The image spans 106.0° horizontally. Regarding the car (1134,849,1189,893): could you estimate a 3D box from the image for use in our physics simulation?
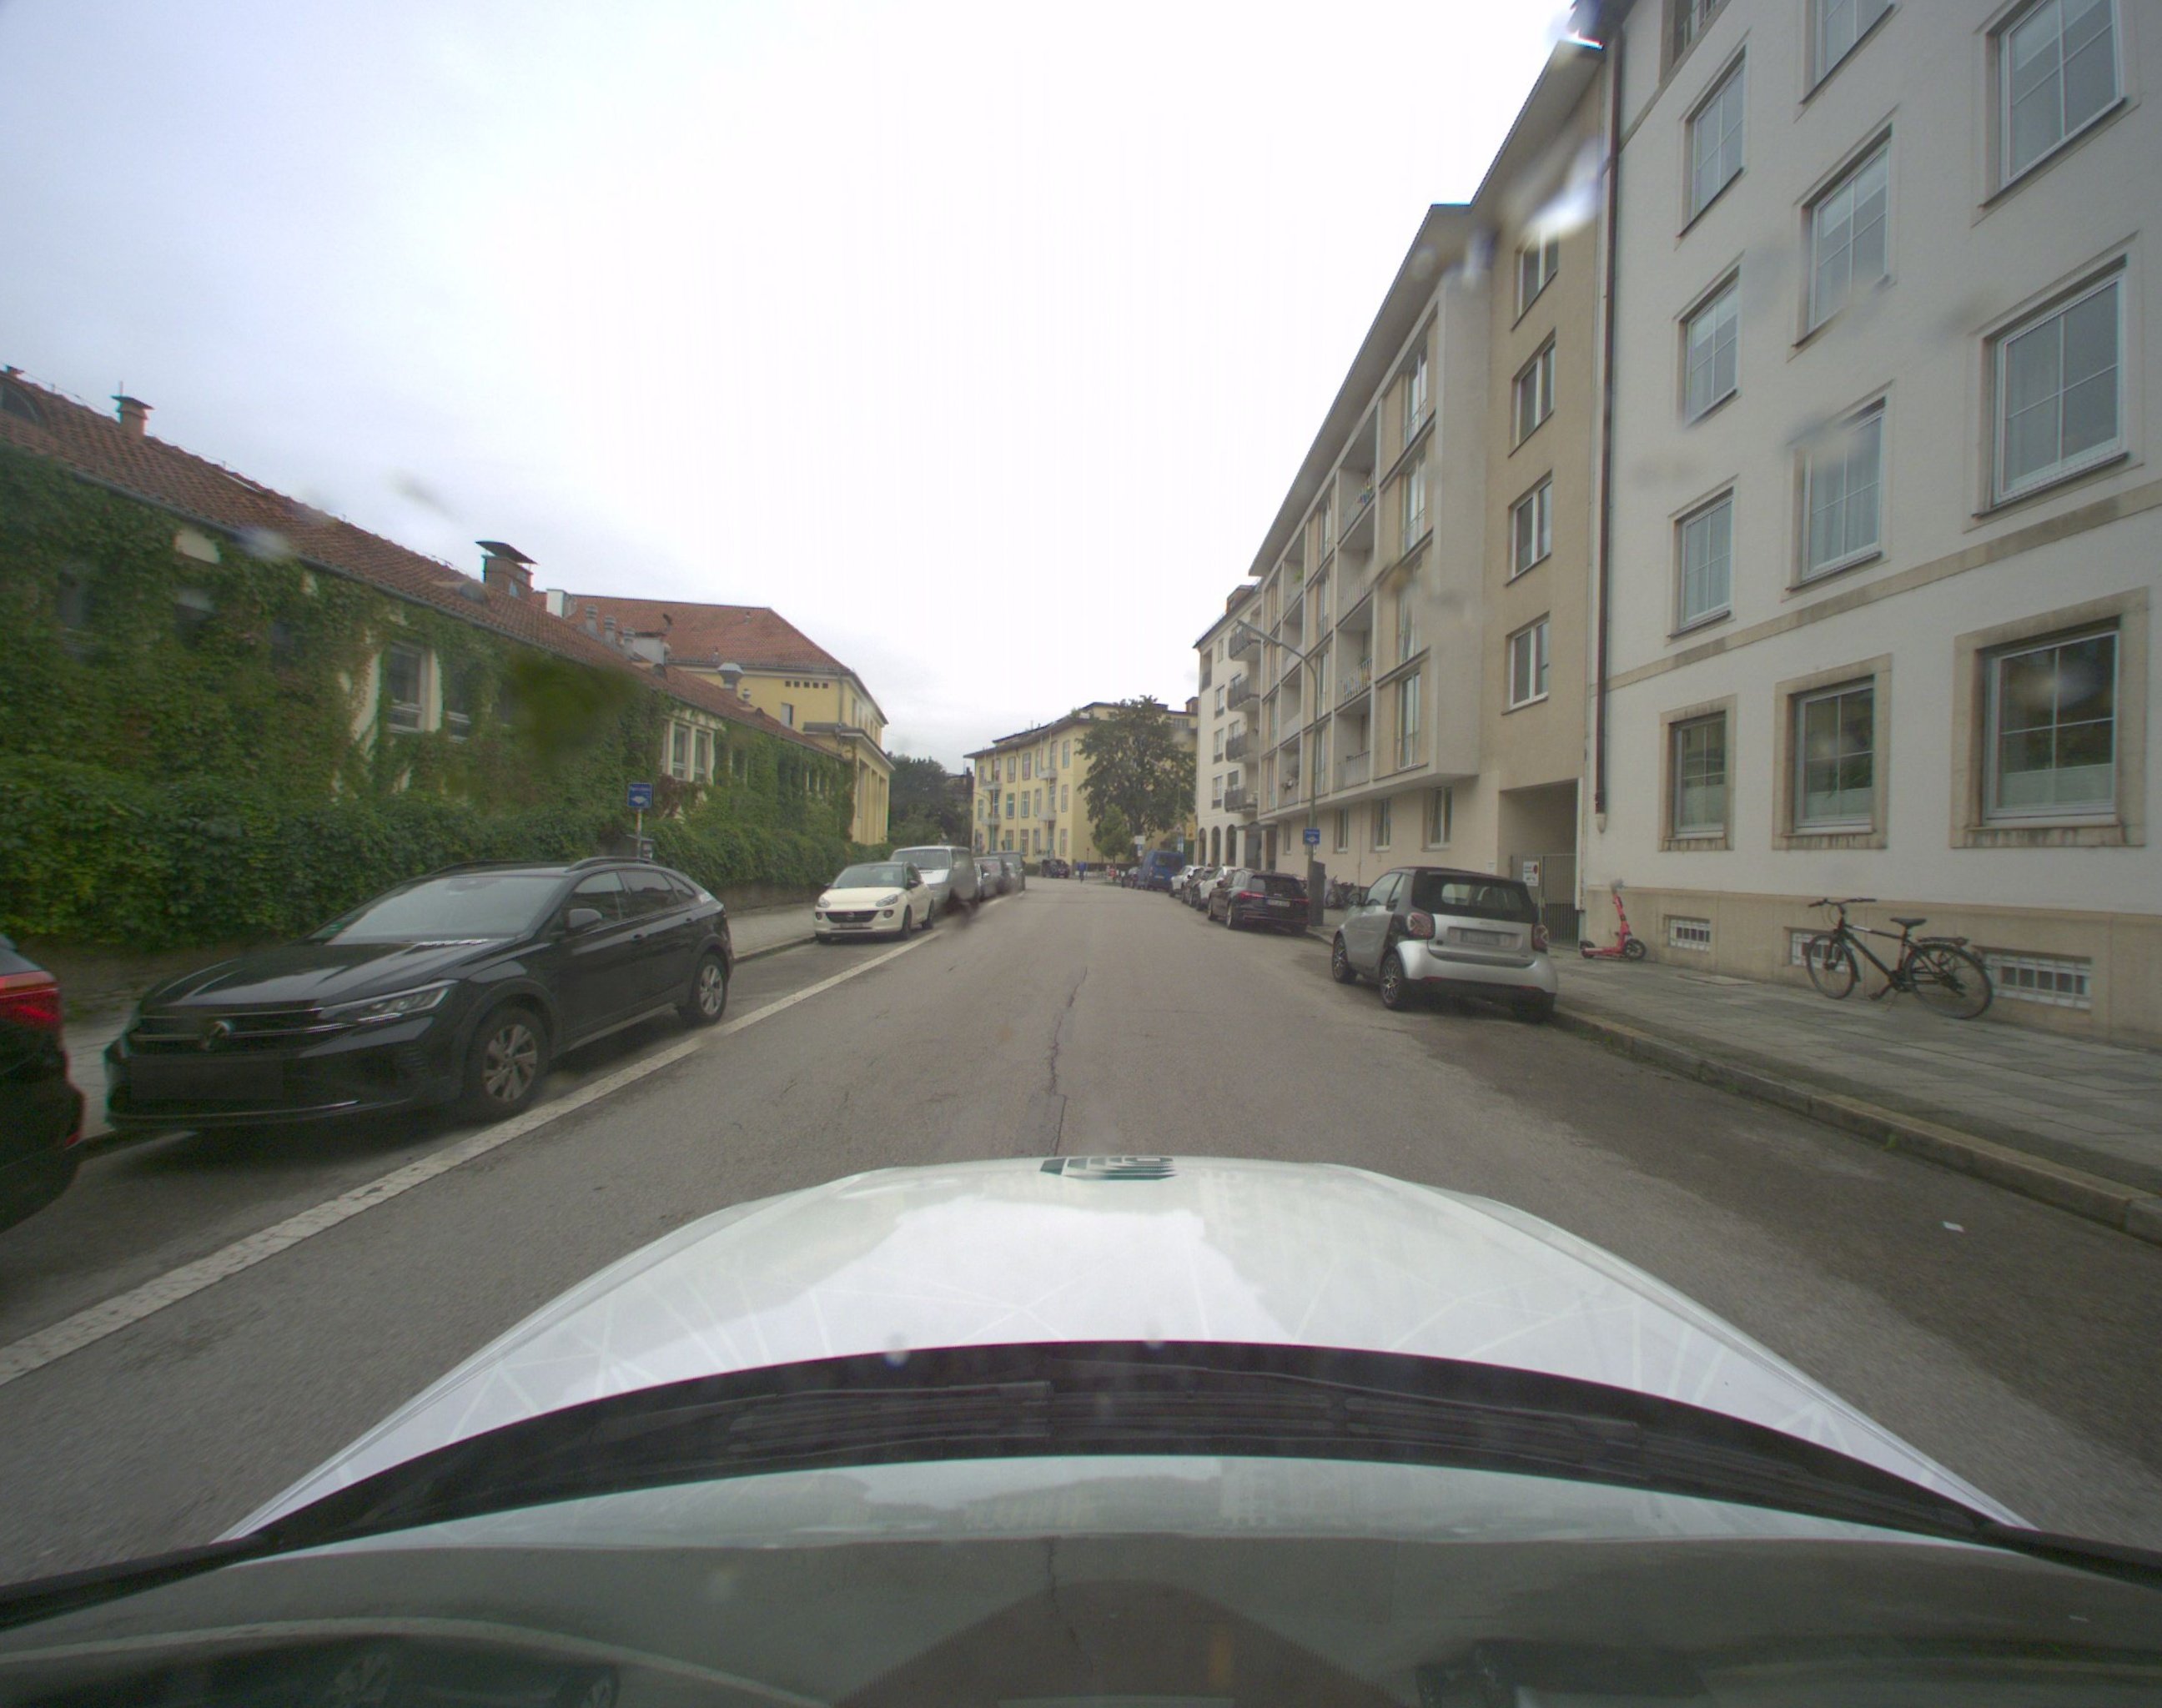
[{"bbox_3d":[4.619,1.057,47.325,2.106,2.214,5.018,6,-3,-5],"label":"car"}]

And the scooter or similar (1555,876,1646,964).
[{"bbox_3d":[8.086,0.999,12.727,0.726,1.275,1.096,1,0,1],"label":"scooter or similar"}]

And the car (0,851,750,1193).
[{"bbox_3d":[-4.114,0.778,5.869,1.712,1.481,4.218,-3,0,-1],"label":"car"}]

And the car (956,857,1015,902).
[{"bbox_3d":[-3.693,0.960,32.177,1.696,1.606,4.490,-2,0,0],"label":"car"}]

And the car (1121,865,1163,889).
[{"bbox_3d":[3.932,1.481,53.234,1.714,1.395,3.986,5,-1,-10],"label":"car"}]

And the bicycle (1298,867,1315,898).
[{"bbox_3d":[9.031,1.124,32.610,0.391,1.202,1.344,-2,-1,6],"label":"bicycle"}]

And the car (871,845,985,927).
[{"bbox_3d":[-3.853,0.757,21.415,1.886,1.798,4.882,-3,0,1],"label":"car"}]

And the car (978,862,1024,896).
[{"bbox_3d":[-3.595,1.088,37.362,1.702,1.365,4.000,-3,0,-1],"label":"car"}]

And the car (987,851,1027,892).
[{"bbox_3d":[-3.817,0.858,42.459,1.922,1.979,4.615,-2,0,-4],"label":"car"}]

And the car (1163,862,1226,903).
[{"bbox_3d":[4.943,1.203,36.056,1.772,1.523,4.297,5,0,-4],"label":"car"}]

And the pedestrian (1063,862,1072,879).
[{"bbox_3d":[-1.393,1.719,84.260,0.847,1.757,0.952,1,0,-6],"label":"pedestrian"}]

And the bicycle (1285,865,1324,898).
[{"bbox_3d":[8.474,1.036,30.895,1.339,1.202,0.392,-2,-2,-13],"label":"bicycle"}]

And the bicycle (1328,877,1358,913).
[{"bbox_3d":[8.820,1.354,27.442,0.512,1.157,1.601,0,-1,0],"label":"bicycle"}]

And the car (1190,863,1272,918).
[{"bbox_3d":[4.648,1.083,25.739,1.697,1.468,4.118,5,-1,-1],"label":"car"}]

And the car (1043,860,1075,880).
[{"bbox_3d":[-2.309,1.635,83.914,1.880,1.888,4.587,1,0,-21],"label":"car"}]

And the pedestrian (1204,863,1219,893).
[{"bbox_3d":[7.157,1.310,44.640,0.677,1.629,0.829,0,-2,-3],"label":"pedestrian"}]

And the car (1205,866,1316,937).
[{"bbox_3d":[4.276,1.075,20.131,1.820,1.381,4.493,4,0,2],"label":"car"}]

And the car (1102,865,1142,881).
[{"bbox_3d":[3.909,1.818,77.296,3.702,1.406,1.753,1,-1,0],"label":"car"}]

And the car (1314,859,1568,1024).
[{"bbox_3d":[4.120,0.892,9.925,1.608,1.516,3.382,5,0,2],"label":"car"}]

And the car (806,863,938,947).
[{"bbox_3d":[-4.017,0.925,16.235,1.661,1.409,3.558,-2,0,0],"label":"car"}]

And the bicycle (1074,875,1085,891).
[{"bbox_3d":[-0.119,2.363,67.556,0.917,1.252,2.322,1,0,1],"label":"bicycle"}]

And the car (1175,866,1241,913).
[{"bbox_3d":[4.703,1.279,30.707,1.766,1.429,4.695,6,0,2],"label":"car"}]

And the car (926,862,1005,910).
[{"bbox_3d":[-3.758,1.010,27.253,1.797,1.377,4.492,-3,-1,1],"label":"car"}]

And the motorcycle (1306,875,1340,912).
[{"bbox_3d":[8.792,1.430,29.618,0.633,1.271,2.041,0,-1,0],"label":"motorcycle"}]

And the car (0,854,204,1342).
[{"bbox_3d":[-4.254,0.770,0.950,1.763,1.503,4.273,-1,0,1],"label":"car"}]

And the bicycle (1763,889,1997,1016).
[{"bbox_3d":[8.155,0.951,8.445,0.627,1.092,1.837,-1,0,1],"label":"bicycle"}]

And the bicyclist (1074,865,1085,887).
[{"bbox_3d":[-0.102,1.820,67.601,0.911,1.764,1.215,1,0,0],"label":"bicyclist"}]
